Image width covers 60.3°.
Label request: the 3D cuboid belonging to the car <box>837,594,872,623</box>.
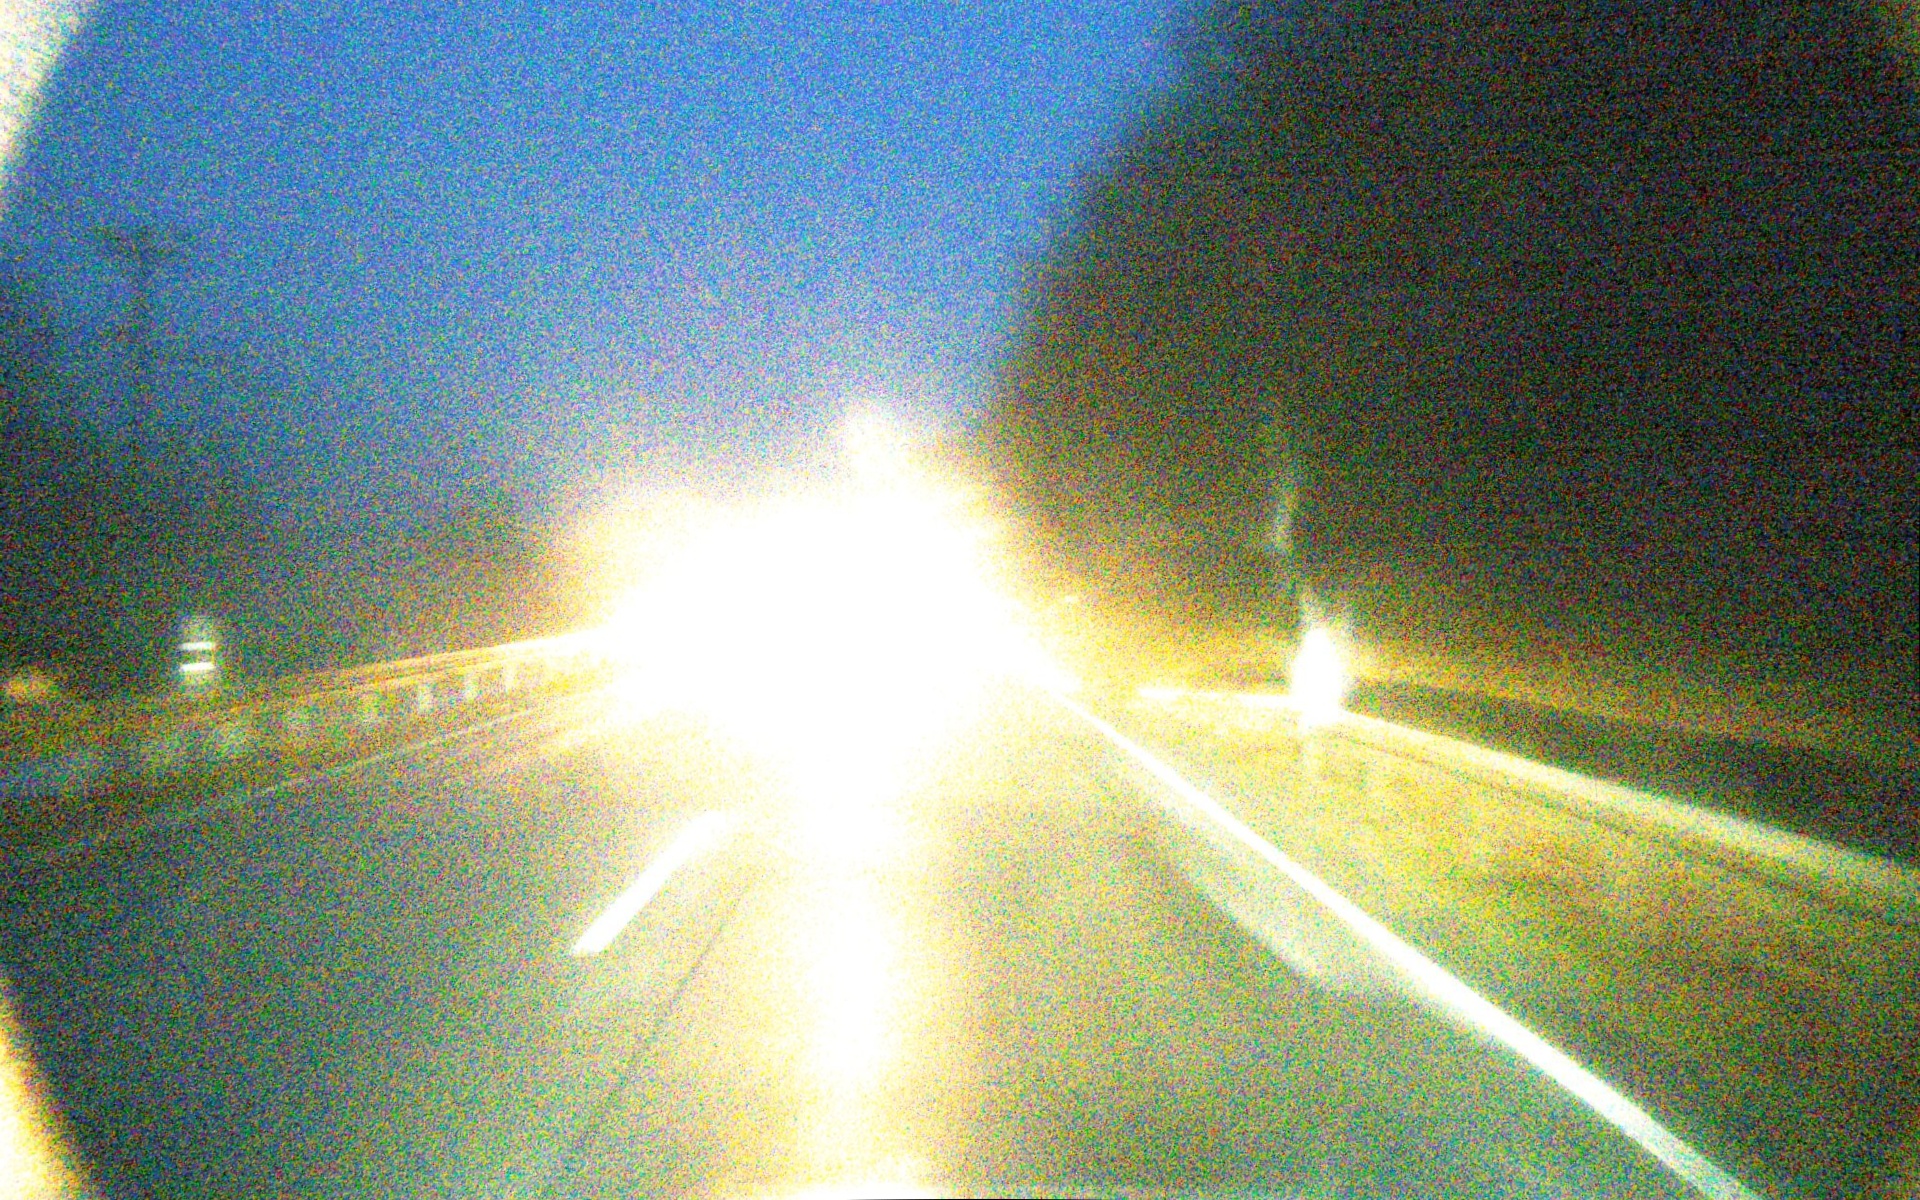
[{"bbox_3d":[-5.844,0.451,91.897,1.807,1.506,4.247,1,0,-2],"label":"car"}]

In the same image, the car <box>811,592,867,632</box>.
[{"bbox_3d":[-4.695,0.437,64.461,1.953,1.501,3.923,1,0,-1],"label":"car"}]

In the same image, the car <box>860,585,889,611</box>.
[{"bbox_3d":[-6.141,-0.171,119.247,1.953,1.824,4.245,1,0,-1],"label":"car"}]
